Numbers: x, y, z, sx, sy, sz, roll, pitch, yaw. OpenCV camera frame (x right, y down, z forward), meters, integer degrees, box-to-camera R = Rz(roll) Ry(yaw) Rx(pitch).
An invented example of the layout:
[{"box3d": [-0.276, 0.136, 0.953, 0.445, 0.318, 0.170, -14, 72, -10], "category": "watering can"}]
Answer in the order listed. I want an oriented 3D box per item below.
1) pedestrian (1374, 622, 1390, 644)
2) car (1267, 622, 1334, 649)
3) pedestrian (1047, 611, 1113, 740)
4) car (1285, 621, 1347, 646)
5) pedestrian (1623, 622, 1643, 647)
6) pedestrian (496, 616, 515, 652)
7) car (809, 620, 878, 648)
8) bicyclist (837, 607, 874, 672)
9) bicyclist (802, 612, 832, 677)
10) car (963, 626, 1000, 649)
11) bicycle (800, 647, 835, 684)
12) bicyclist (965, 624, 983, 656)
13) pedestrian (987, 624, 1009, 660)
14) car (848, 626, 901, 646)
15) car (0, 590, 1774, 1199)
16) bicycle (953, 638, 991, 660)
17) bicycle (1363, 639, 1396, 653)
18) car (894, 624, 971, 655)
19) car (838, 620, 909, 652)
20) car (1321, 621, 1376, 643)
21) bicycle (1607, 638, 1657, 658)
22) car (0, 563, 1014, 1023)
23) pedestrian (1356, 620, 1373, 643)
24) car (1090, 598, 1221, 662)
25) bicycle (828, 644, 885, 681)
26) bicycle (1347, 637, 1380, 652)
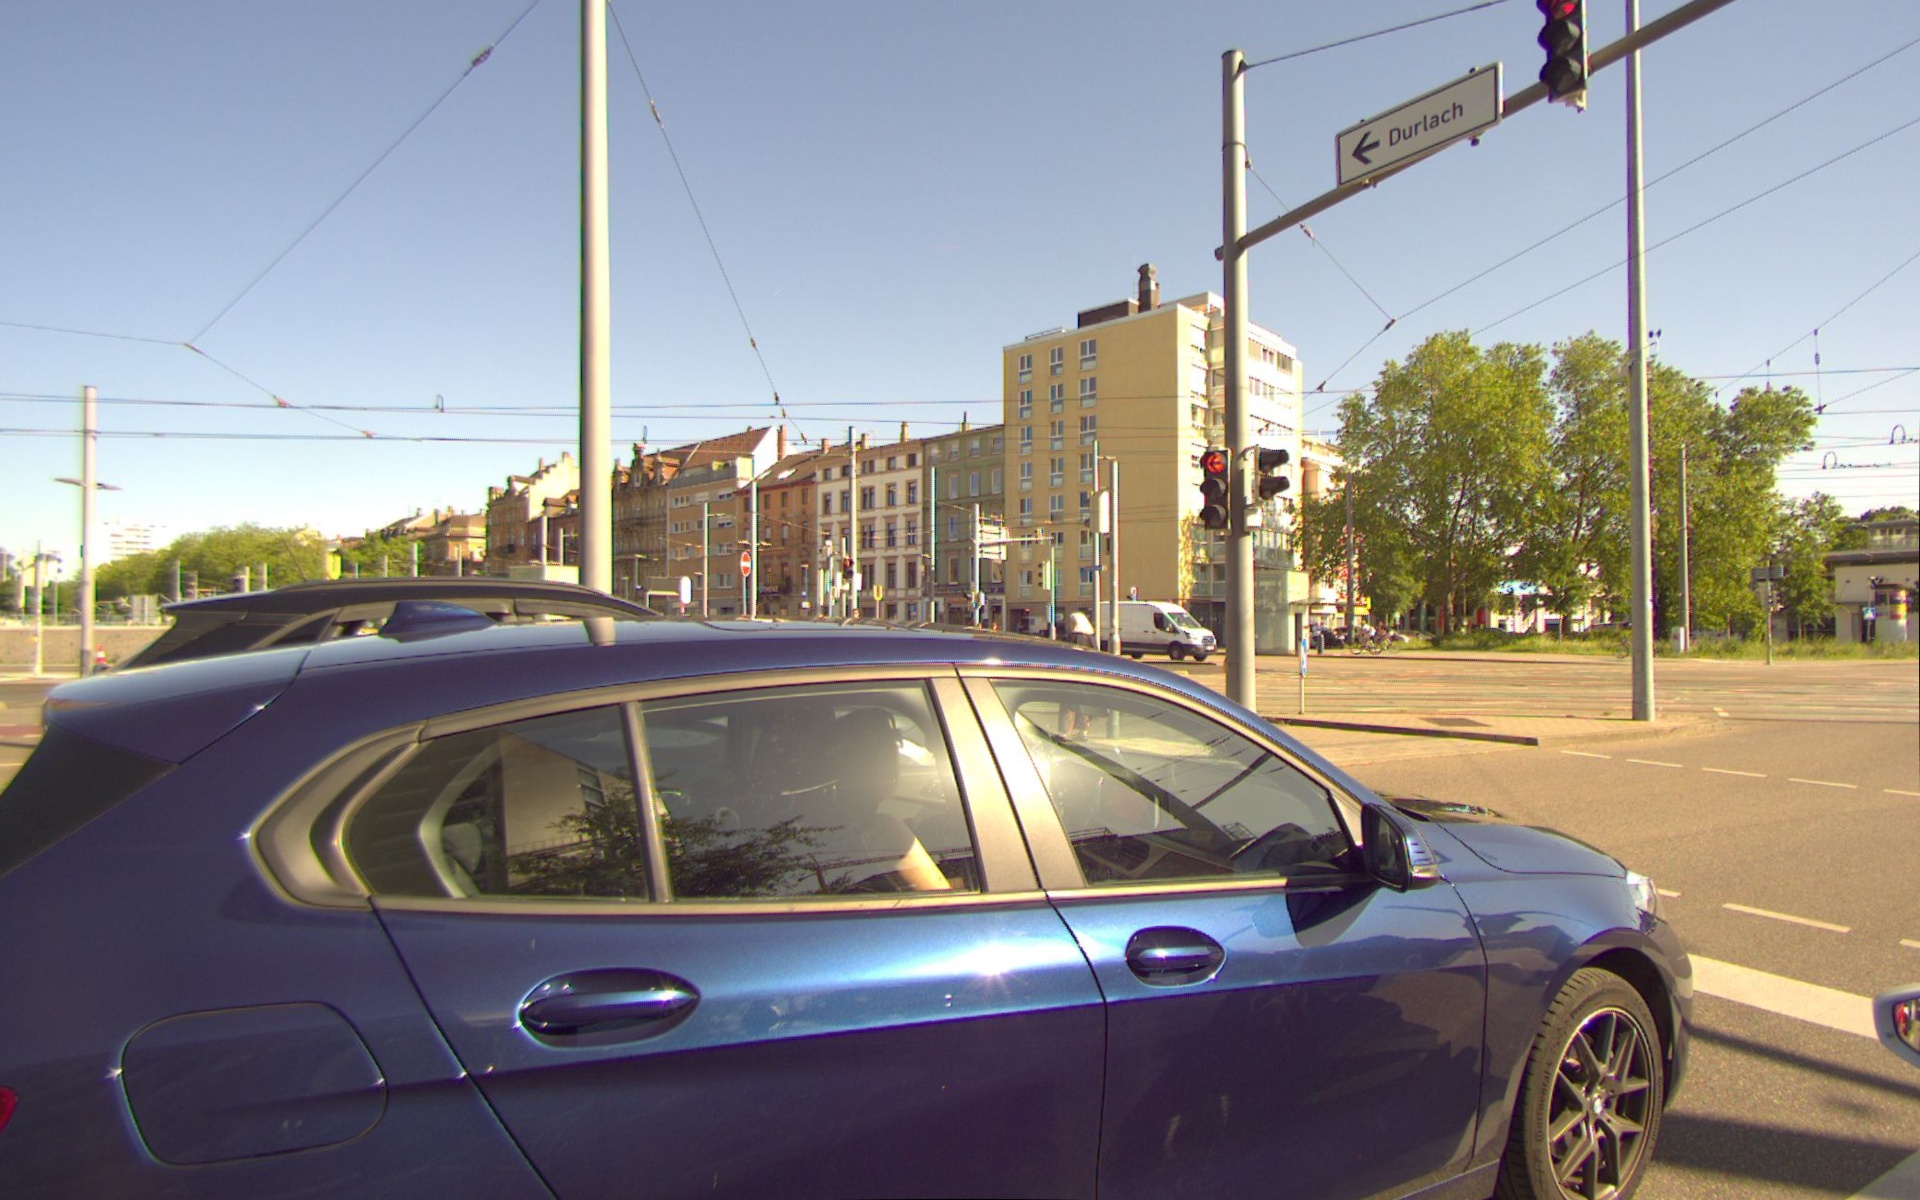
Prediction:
[{"box3d": [22.788, 1.780, 54.226, 0.739, 1.142, 0.422, -1, -2, 41], "category": "pedestrian"}, {"box3d": [21.612, 2.225, 63.814, 3.691, 1.684, 1.586, -1, -2, 42], "category": "car"}, {"box3d": [1.503, 0.934, 12.599, 0.749, 1.575, 0.356, 0, -1, -20], "category": "pedestrian"}, {"box3d": [24.432, 2.311, 69.008, 3.691, 1.684, 1.586, -1, -2, 42], "category": "car"}, {"box3d": [32.200, 1.644, 48.050, 0.783, 1.220, 0.559, -1, -1, 33], "category": "pedestrian"}, {"box3d": [-22.084, 1.646, 48.796, 0.672, 1.735, 0.793, 1, -1, -38], "category": "pedestrian"}, {"box3d": [-7.206, 2.064, 62.085, 4.244, 1.675, 1.849, -1, -2, 40], "category": "car"}, {"box3d": [-2.768, 1.032, 26.577, 0.672, 1.676, 0.777, 1, -1, -35], "category": "bicyclist"}, {"box3d": [-3.735, 1.154, 26.181, 0.667, 1.676, 0.782, 0, -1, -17], "category": "bicyclist"}, {"box3d": [1.378, 2.490, 67.000, 1.745, 1.446, 3.873, 0, -2, -10], "category": "car"}, {"box3d": [-3.715, 1.679, 26.102, 0.667, 0.890, 1.892, 0, -2, -16], "category": "bicycle"}, {"box3d": [0.638, 1.841, 46.287, 0.609, 1.462, 0.614, 1, -1, -30], "category": "bicyclist"}, {"box3d": [1.701, 1.878, 44.948, 0.669, 1.593, 0.740, 1, -2, -45], "category": "pedestrian"}, {"box3d": [-6.303, 2.650, 74.430, 1.749, 1.446, 3.863, -1, -2, 39], "category": "car"}, {"box3d": [0.111, 0.757, 2.534, 3.984, 1.464, 1.703, 1, 0, -30], "category": "car"}, {"box3d": [0.551, 2.248, 46.221, 1.666, 0.958, 0.614, 1, -2, -30], "category": "bicycle"}, {"box3d": [22.682, 2.493, 54.304, 1.610, 0.727, 0.422, -1, -2, 41], "category": "bicycle"}, {"box3d": [-1.591, 2.208, 56.364, 4.246, 1.675, 1.848, -1, -2, 42], "category": "car"}, {"box3d": [-4.789, 1.943, 55.169, 1.856, 1.681, 4.022, 1, -2, -42], "category": "car"}, {"box3d": [29.901, 2.470, 77.324, 3.691, 1.684, 1.586, -1, -2, 42], "category": "car"}, {"box3d": [32.135, 2.278, 48.081, 1.977, 0.925, 0.561, -1, -2, 34], "category": "bicycle"}, {"box3d": [-1.871, 0.681, 5.067, 3.959, 1.537, 1.751, 1, -1, -28], "category": "car"}, {"box3d": [21.501, 1.674, 53.369, 0.738, 1.220, 0.422, -1, -2, 38], "category": "pedestrian"}, {"box3d": [8.279, 1.278, 42.979, 1.987, 2.541, 5.348, 1, -2, -44], "category": "car"}, {"box3d": [-2.740, 1.632, 26.511, 0.672, 0.890, 1.880, 1, -2, -35], "category": "bicycle"}, {"box3d": [21.441, 2.379, 53.400, 1.609, 0.769, 0.422, -1, -2, 38], "category": "bicycle"}]
